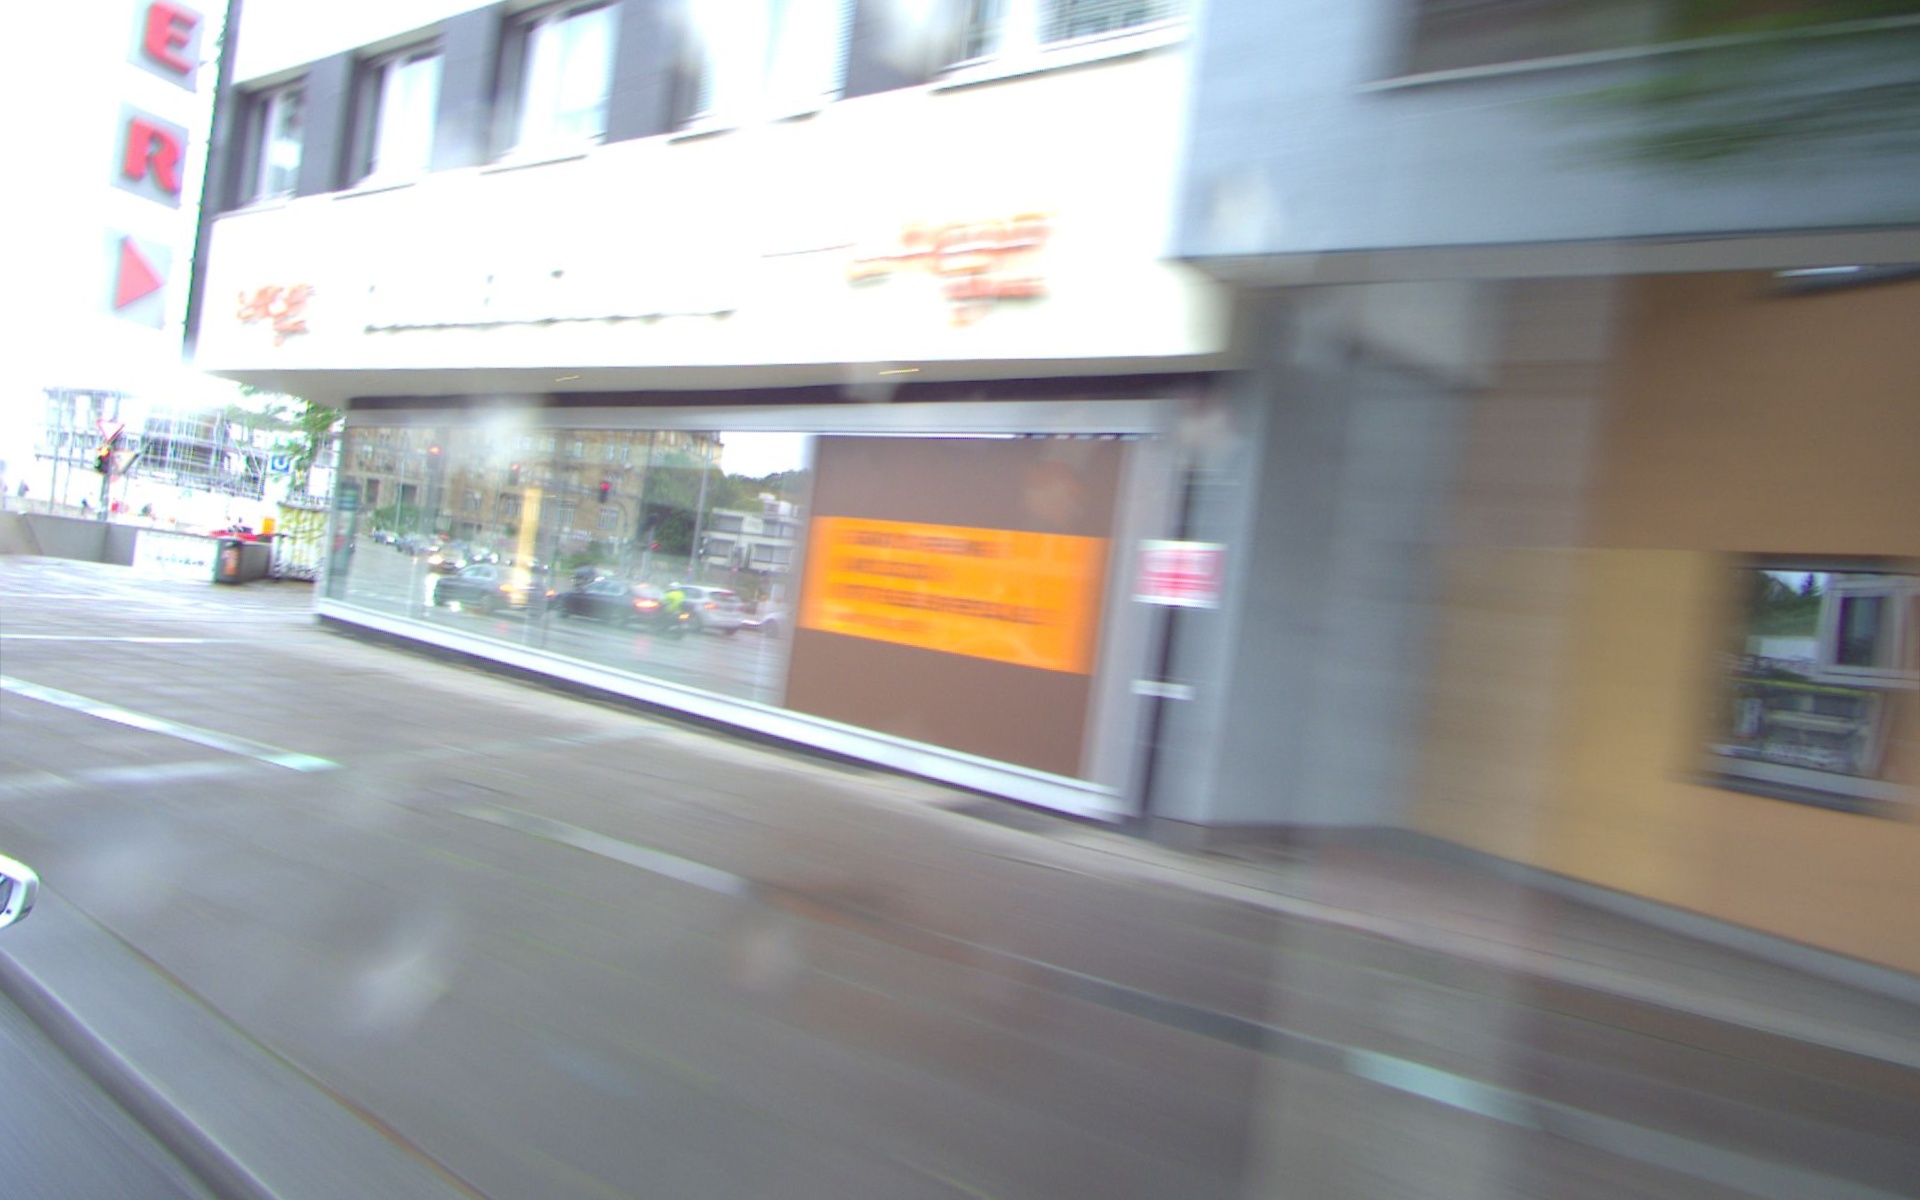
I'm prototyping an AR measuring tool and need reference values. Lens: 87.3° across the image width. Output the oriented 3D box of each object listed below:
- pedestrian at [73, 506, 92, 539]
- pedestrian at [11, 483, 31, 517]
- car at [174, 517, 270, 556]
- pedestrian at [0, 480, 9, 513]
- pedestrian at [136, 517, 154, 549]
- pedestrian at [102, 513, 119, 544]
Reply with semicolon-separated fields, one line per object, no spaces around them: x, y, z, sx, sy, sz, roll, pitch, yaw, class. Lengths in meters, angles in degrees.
-54.107;-4.771;62.033;0.356;1.919;0.576;6;-3;32;pedestrian
-56.060;-5.976;60.056;0.357;1.919;0.575;6;-3;35;pedestrian
-38.237;-3.286;52.184;1.636;1.318;3.549;6;-4;24;car
-57.562;-6.211;60.291;0.356;1.919;0.575;6;-3;35;pedestrian
-52.103;-4.291;64.300;0.356;1.919;0.576;6;-3;32;pedestrian
-54.841;-4.615;64.940;0.357;1.919;0.575;6;-3;38;pedestrian
